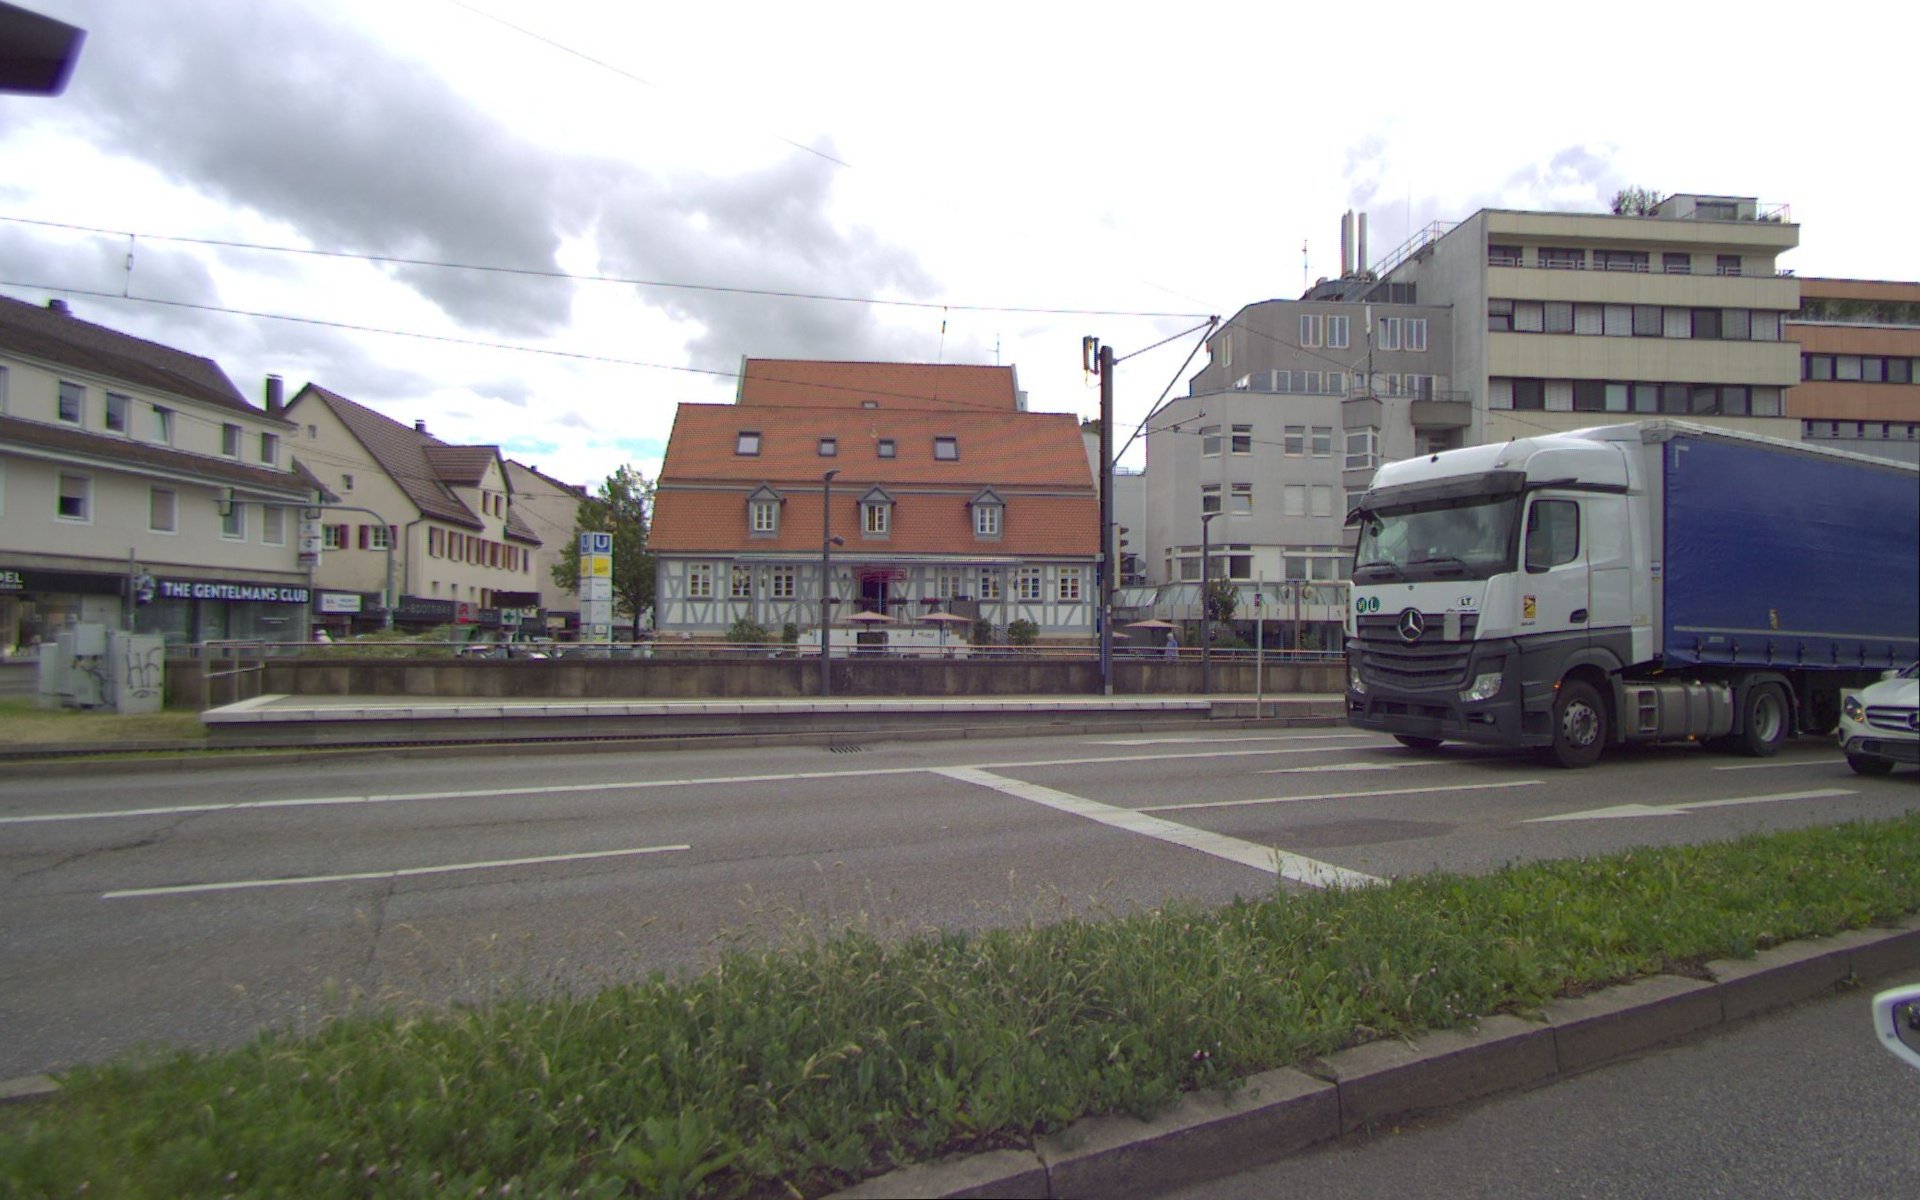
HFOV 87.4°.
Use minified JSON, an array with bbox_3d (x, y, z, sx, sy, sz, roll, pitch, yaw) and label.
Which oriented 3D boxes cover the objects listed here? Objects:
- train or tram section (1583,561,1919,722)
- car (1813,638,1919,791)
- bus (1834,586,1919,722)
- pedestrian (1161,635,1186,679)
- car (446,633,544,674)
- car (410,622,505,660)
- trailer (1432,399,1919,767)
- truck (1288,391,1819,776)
[{"bbox_3d":[21.652,1.178,26.350,11.831,3.632,2.752,2,-2,-23],"label":"train or tram section"},{"bbox_3d":[11.646,1.225,11.039,4.303,1.536,1.782,2,-2,-24],"label":"car"},{"bbox_3d":[36.281,2.009,33.166,19.081,3.909,3.866,3,-3,-25],"label":"bus"},{"bbox_3d":[7.926,2.115,37.328,0.688,1.604,0.650,1,-2,-10],"label":"pedestrian"},{"bbox_3d":[-20.442,2.350,44.338,1.959,1.673,4.077,1,-3,8],"label":"car"},{"bbox_3d":[-23.356,1.916,46.896,1.959,1.673,4.077,1,-3,8],"label":"car"},{"bbox_3d":[14.176,0.043,16.162,14.638,4.325,3.095,2,-2,-24],"label":"trailer"},{"bbox_3d":[7.773,-0.051,13.254,6.069,4.075,3.084,2,-2,-23],"label":"truck"}]
